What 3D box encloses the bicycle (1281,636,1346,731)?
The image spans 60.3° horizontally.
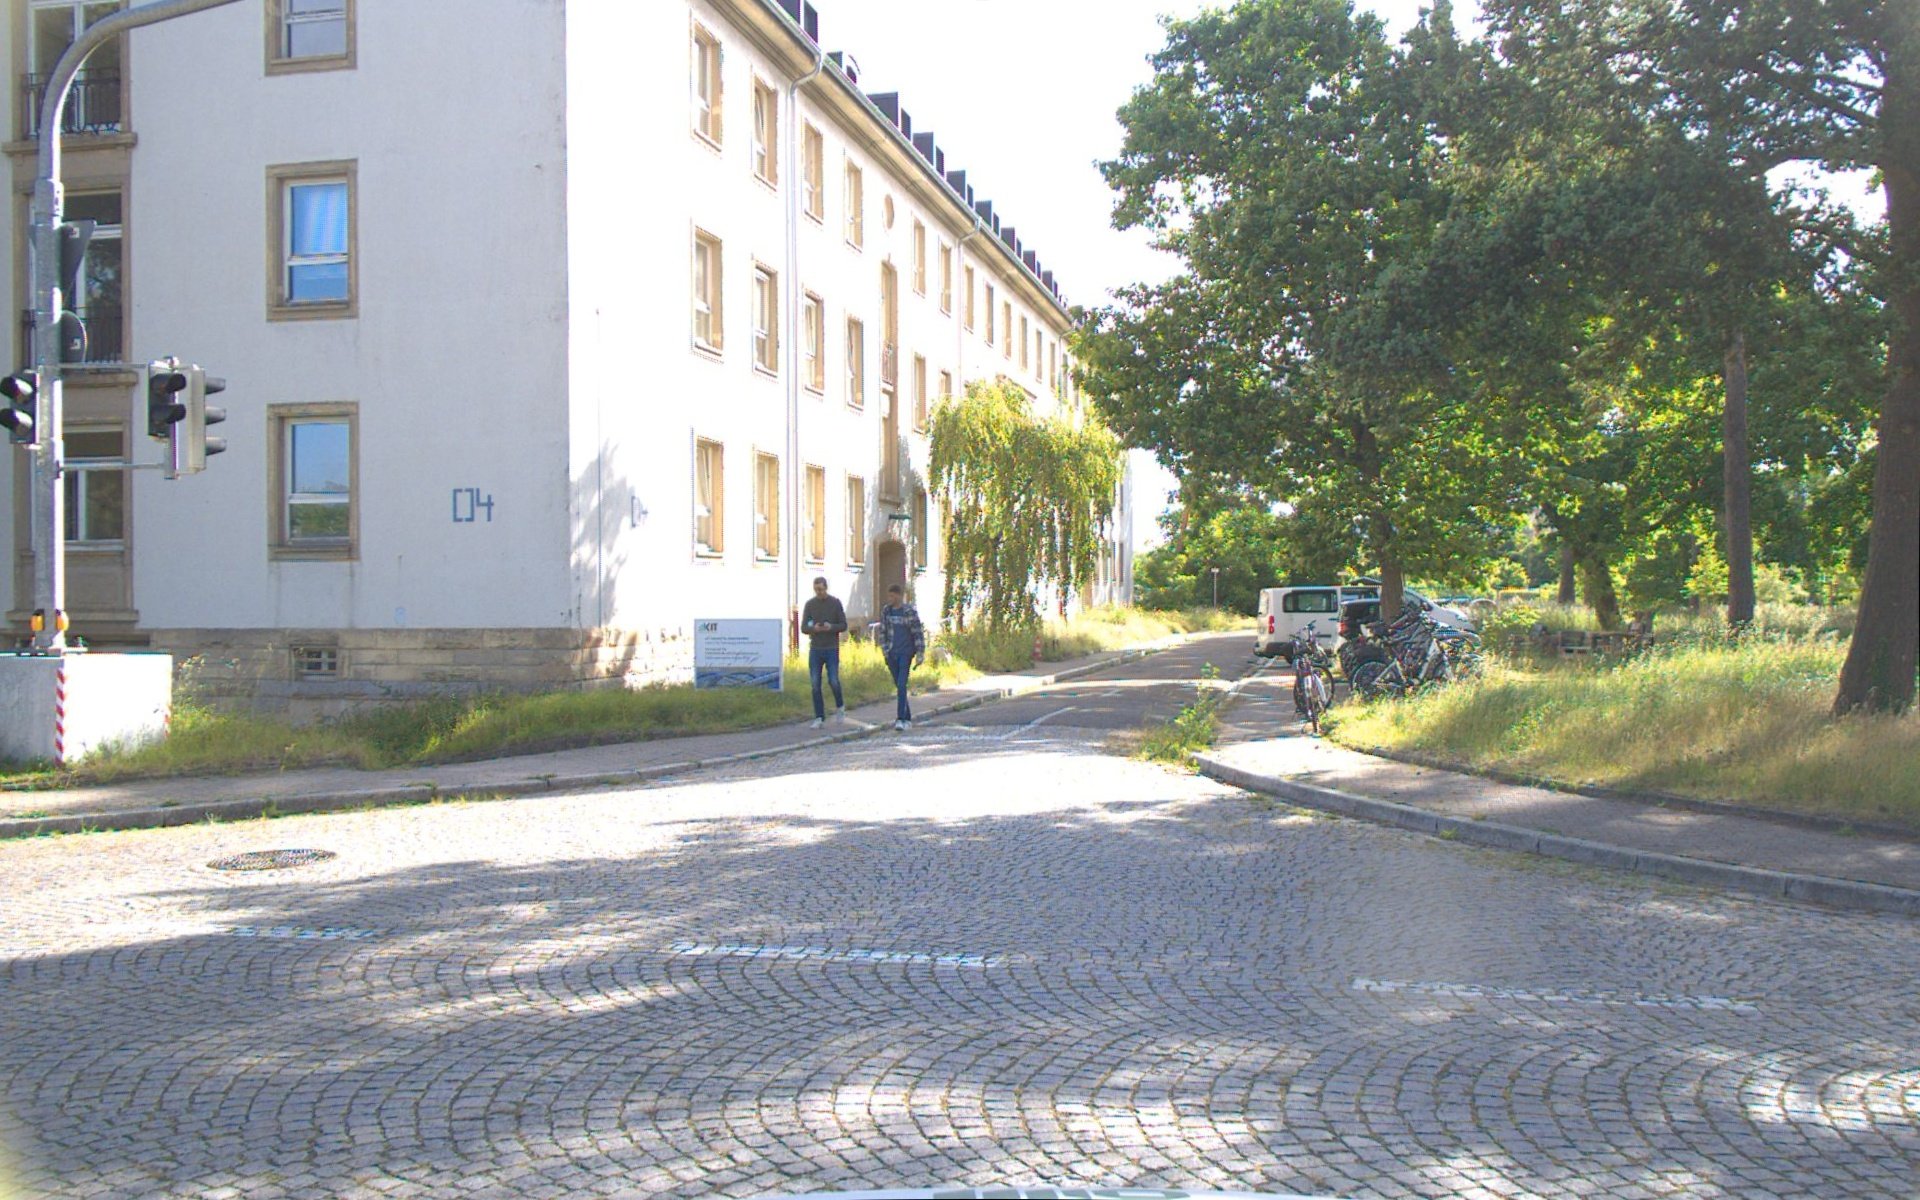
[{"bbox_3d":[4.049,0.932,19.043,0.680,0.988,1.862,0,0,11],"label":"bicycle"}]

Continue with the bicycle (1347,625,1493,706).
[{"bbox_3d":[6.127,0.868,22.131,1.815,1.049,0.750,0,0,10],"label":"bicycle"}]

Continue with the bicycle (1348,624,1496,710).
[{"bbox_3d":[6.375,0.911,22.896,1.899,1.149,0.750,0,0,10],"label":"bicycle"}]

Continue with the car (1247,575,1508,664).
[{"bbox_3d":[9.942,0.465,39.827,5.805,2.049,2.477,0,0,6],"label":"car"}]

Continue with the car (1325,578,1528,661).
[{"bbox_3d":[9.908,0.408,35.381,3.902,1.713,1.848,0,0,5],"label":"car"}]

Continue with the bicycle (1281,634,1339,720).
[{"bbox_3d":[4.418,0.947,20.953,0.680,0.988,1.862,0,0,11],"label":"bicycle"}]

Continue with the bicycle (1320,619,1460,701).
[{"bbox_3d":[6.282,0.864,24.154,1.908,1.149,0.645,0,0,-14],"label":"bicycle"}]

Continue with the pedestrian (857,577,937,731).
[{"bbox_3d":[-0.768,0.643,20.313,0.752,1.849,0.682,0,0,24],"label":"pedestrian"}]

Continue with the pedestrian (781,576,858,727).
[{"bbox_3d":[-1.751,0.628,20.639,0.795,1.849,0.555,0,0,24],"label":"pedestrian"}]

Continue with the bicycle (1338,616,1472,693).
[{"bbox_3d":[6.761,0.817,25.181,1.899,1.149,0.648,0,0,8],"label":"bicycle"}]

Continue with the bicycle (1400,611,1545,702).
[{"bbox_3d":[7.234,0.794,23.407,1.899,1.257,0.486,0,0,10],"label":"bicycle"}]
